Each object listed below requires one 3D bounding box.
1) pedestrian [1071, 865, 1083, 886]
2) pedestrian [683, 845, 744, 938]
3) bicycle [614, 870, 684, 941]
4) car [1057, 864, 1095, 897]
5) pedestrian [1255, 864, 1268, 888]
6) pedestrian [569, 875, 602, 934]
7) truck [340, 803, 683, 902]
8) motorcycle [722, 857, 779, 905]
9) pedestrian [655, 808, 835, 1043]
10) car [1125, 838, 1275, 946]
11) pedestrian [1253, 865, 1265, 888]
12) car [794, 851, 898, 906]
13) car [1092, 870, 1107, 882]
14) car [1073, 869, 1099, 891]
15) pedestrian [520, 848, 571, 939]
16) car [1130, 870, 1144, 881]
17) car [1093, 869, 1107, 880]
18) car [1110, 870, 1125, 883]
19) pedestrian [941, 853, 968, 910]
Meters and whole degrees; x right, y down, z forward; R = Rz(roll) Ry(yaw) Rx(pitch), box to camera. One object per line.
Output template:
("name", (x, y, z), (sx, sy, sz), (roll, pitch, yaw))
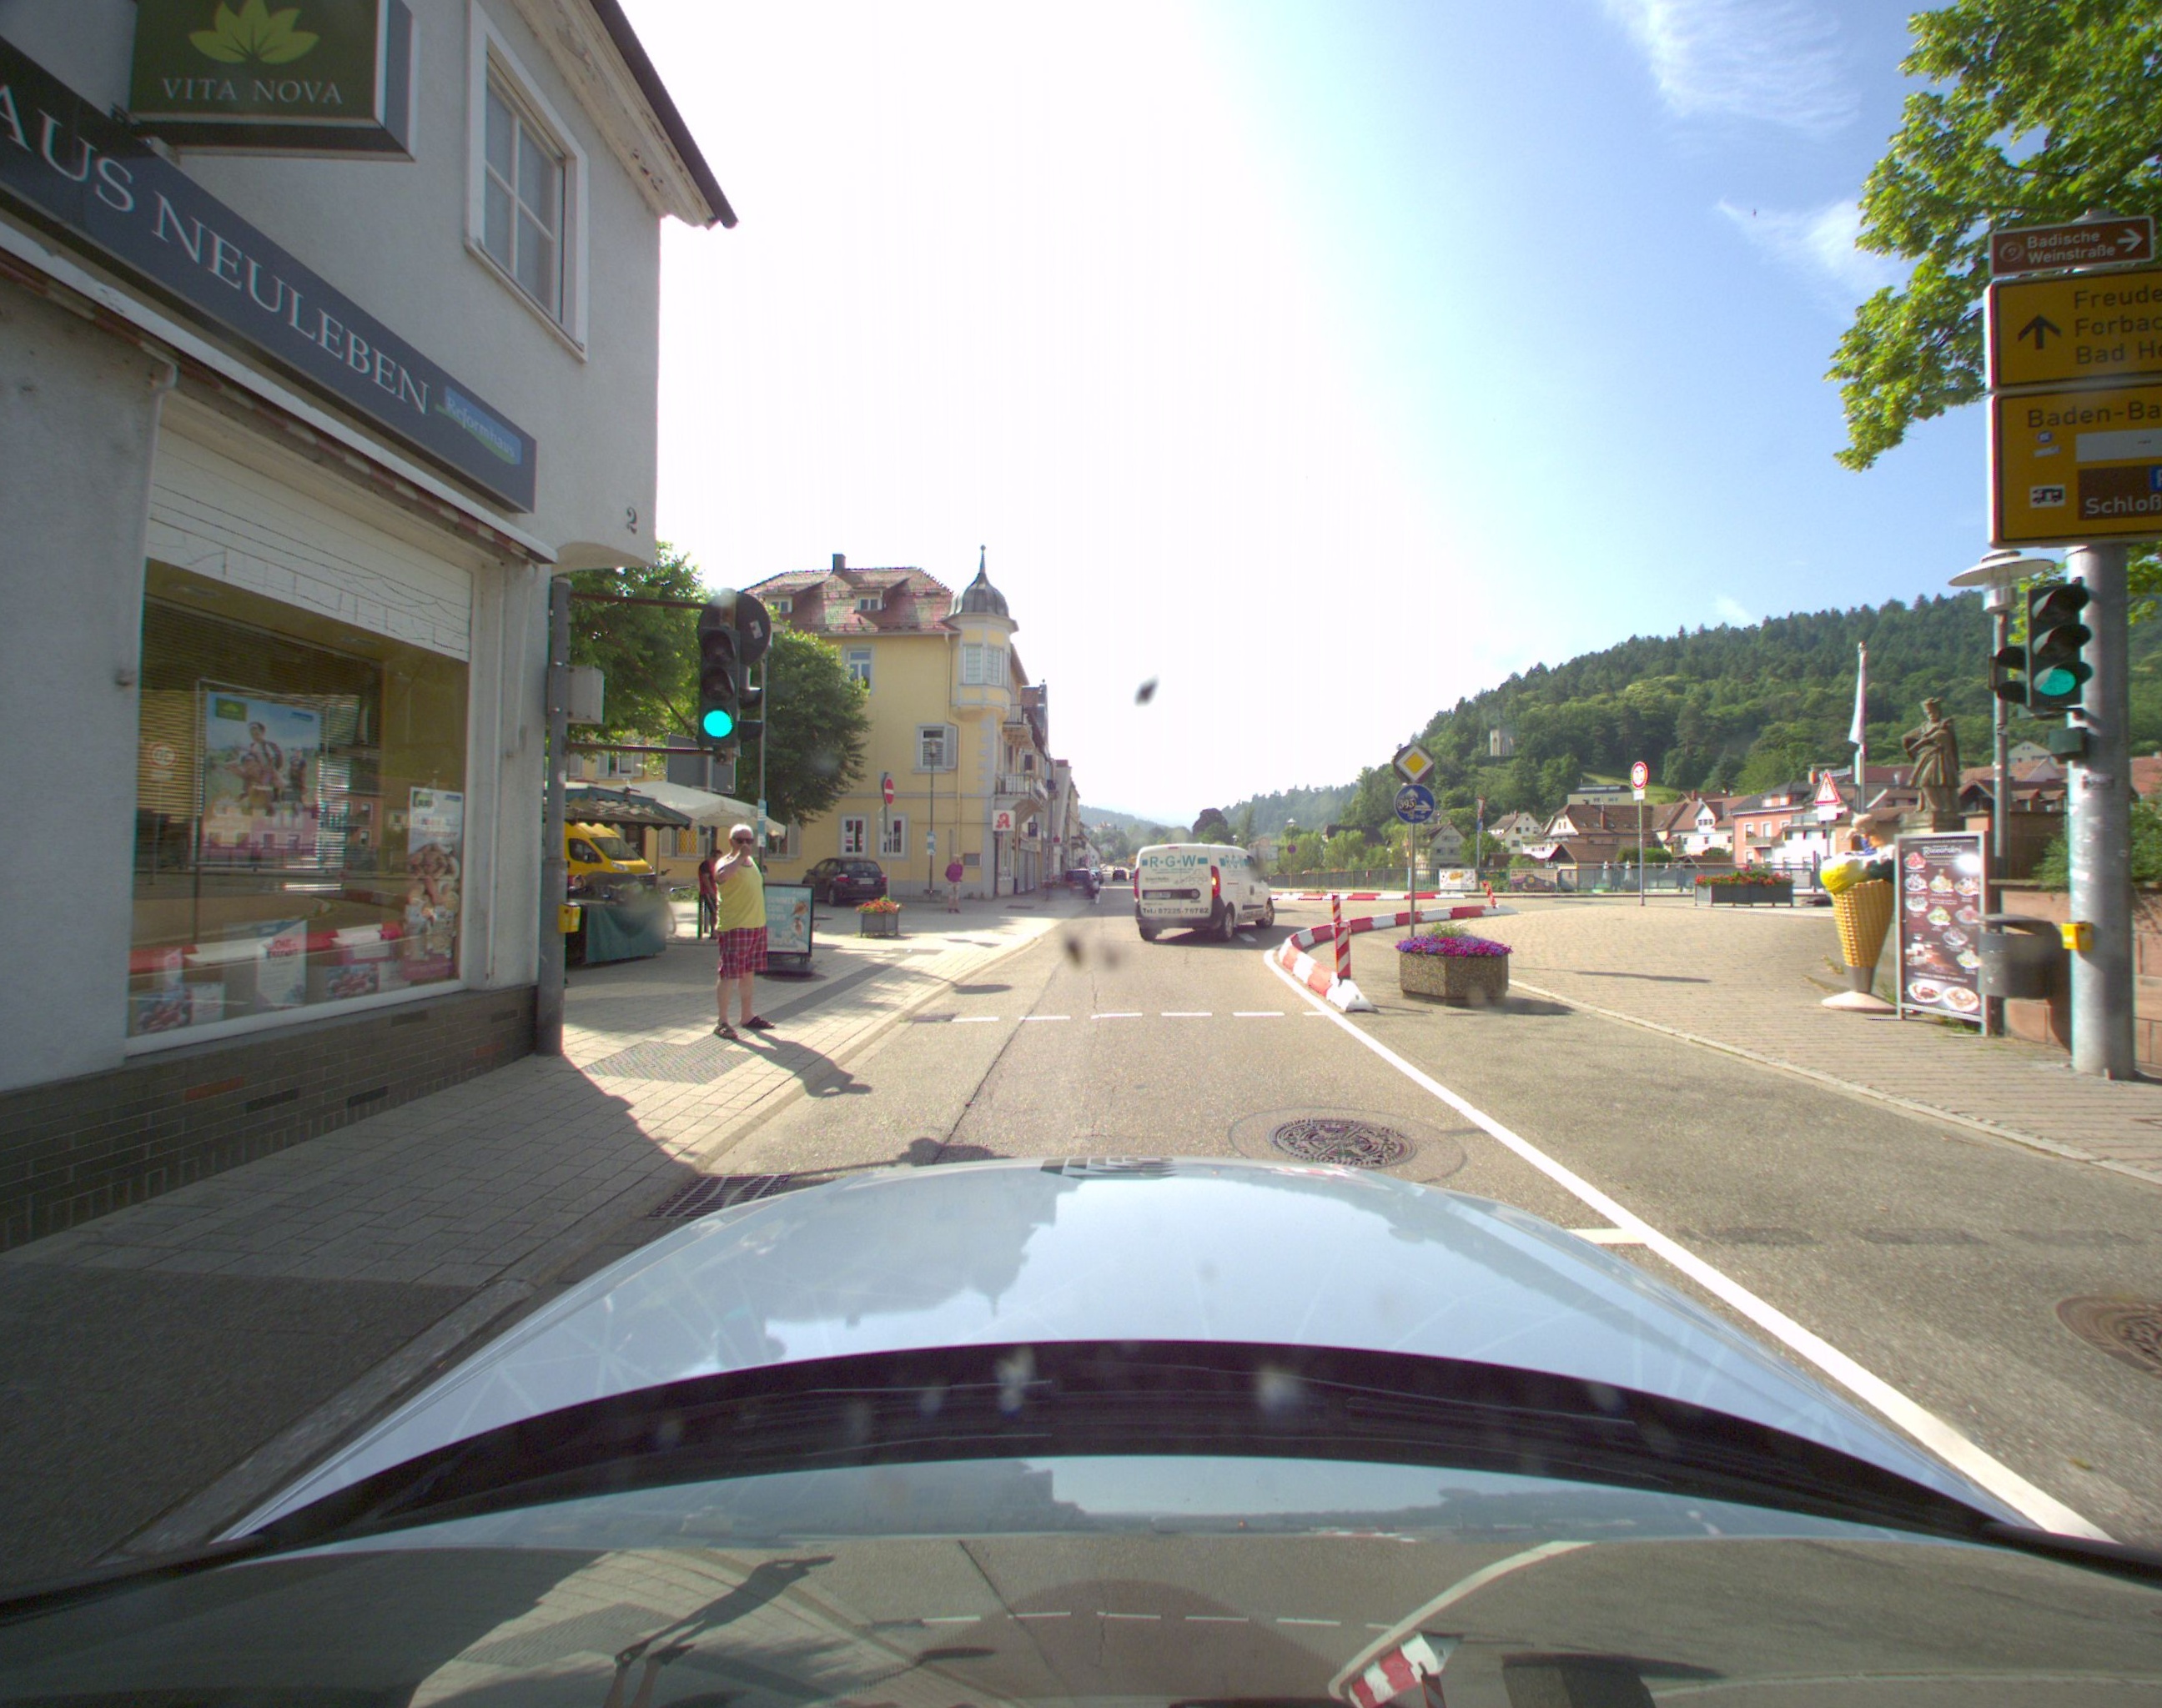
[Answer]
("pedestrian", (-0.334, 1.744, 65.820), (0.682, 1.696, 0.664), (-1, -2, 29))
("pedestrian", (-6.826, 0.697, 15.167), (0.567, 1.659, 0.885), (1, -3, 8))
("bicycle", (-8.066, 0.924, 15.292), (0.615, 1.235, 1.855), (0, -1, -11))
("car", (-0.216, 1.341, 41.800), (1.840, 1.568, 3.568), (0, -1, 1))
("pedestrian", (13.252, 1.629, 59.830), (0.863, 1.706, 0.778), (0, -1, 3))
("pedestrian", (-9.982, 0.999, 16.416), (0.518, 1.160, 0.616), (1, -1, -29))
("truck", (-17.916, -0.052, 26.041), (8.800, 2.758, 3.012), (1, 0, 1))
("motorcycle", (-10.219, 0.808, 25.261), (0.882, 1.360, 2.088), (0, 1, 1))
("pedestrian", (-2.904, 0.571, 7.061), (1.008, 1.815, 0.913), (4, -1, 38))
("car", (2.600, 0.637, 16.825), (1.827, 1.906, 4.340), (0, 1, 26))
("pedestrian", (13.219, 1.656, 60.497), (0.786, 1.706, 0.492), (0, -1, 3))
("car", (-7.743, 0.751, 26.639), (1.932, 1.543, 3.915), (2, 0, -38))
("car", (2.208, 2.606, 97.763), (1.741, 1.448, 3.276), (0, -1, 1))
("car", (0.355, 1.776, 55.851), (1.741, 1.448, 3.794), (0, -1, 1))
("pedestrian", (-10.531, 0.760, 16.031), (0.708, 1.724, 0.782), (1, -1, -25))
("car", (8.492, 3.271, 123.472), (1.986, 1.662, 4.002), (1, -1, 2))
("car", (2.109, 2.320, 91.598), (1.558, 1.220, 3.276), (0, -1, 1))
("car", (4.923, 3.005, 110.626), (1.986, 1.662, 4.002), (1, -1, 2))
("pedestrian", (-3.838, 0.833, 24.747), (0.675, 1.714, 0.618), (1, -1, 3))
